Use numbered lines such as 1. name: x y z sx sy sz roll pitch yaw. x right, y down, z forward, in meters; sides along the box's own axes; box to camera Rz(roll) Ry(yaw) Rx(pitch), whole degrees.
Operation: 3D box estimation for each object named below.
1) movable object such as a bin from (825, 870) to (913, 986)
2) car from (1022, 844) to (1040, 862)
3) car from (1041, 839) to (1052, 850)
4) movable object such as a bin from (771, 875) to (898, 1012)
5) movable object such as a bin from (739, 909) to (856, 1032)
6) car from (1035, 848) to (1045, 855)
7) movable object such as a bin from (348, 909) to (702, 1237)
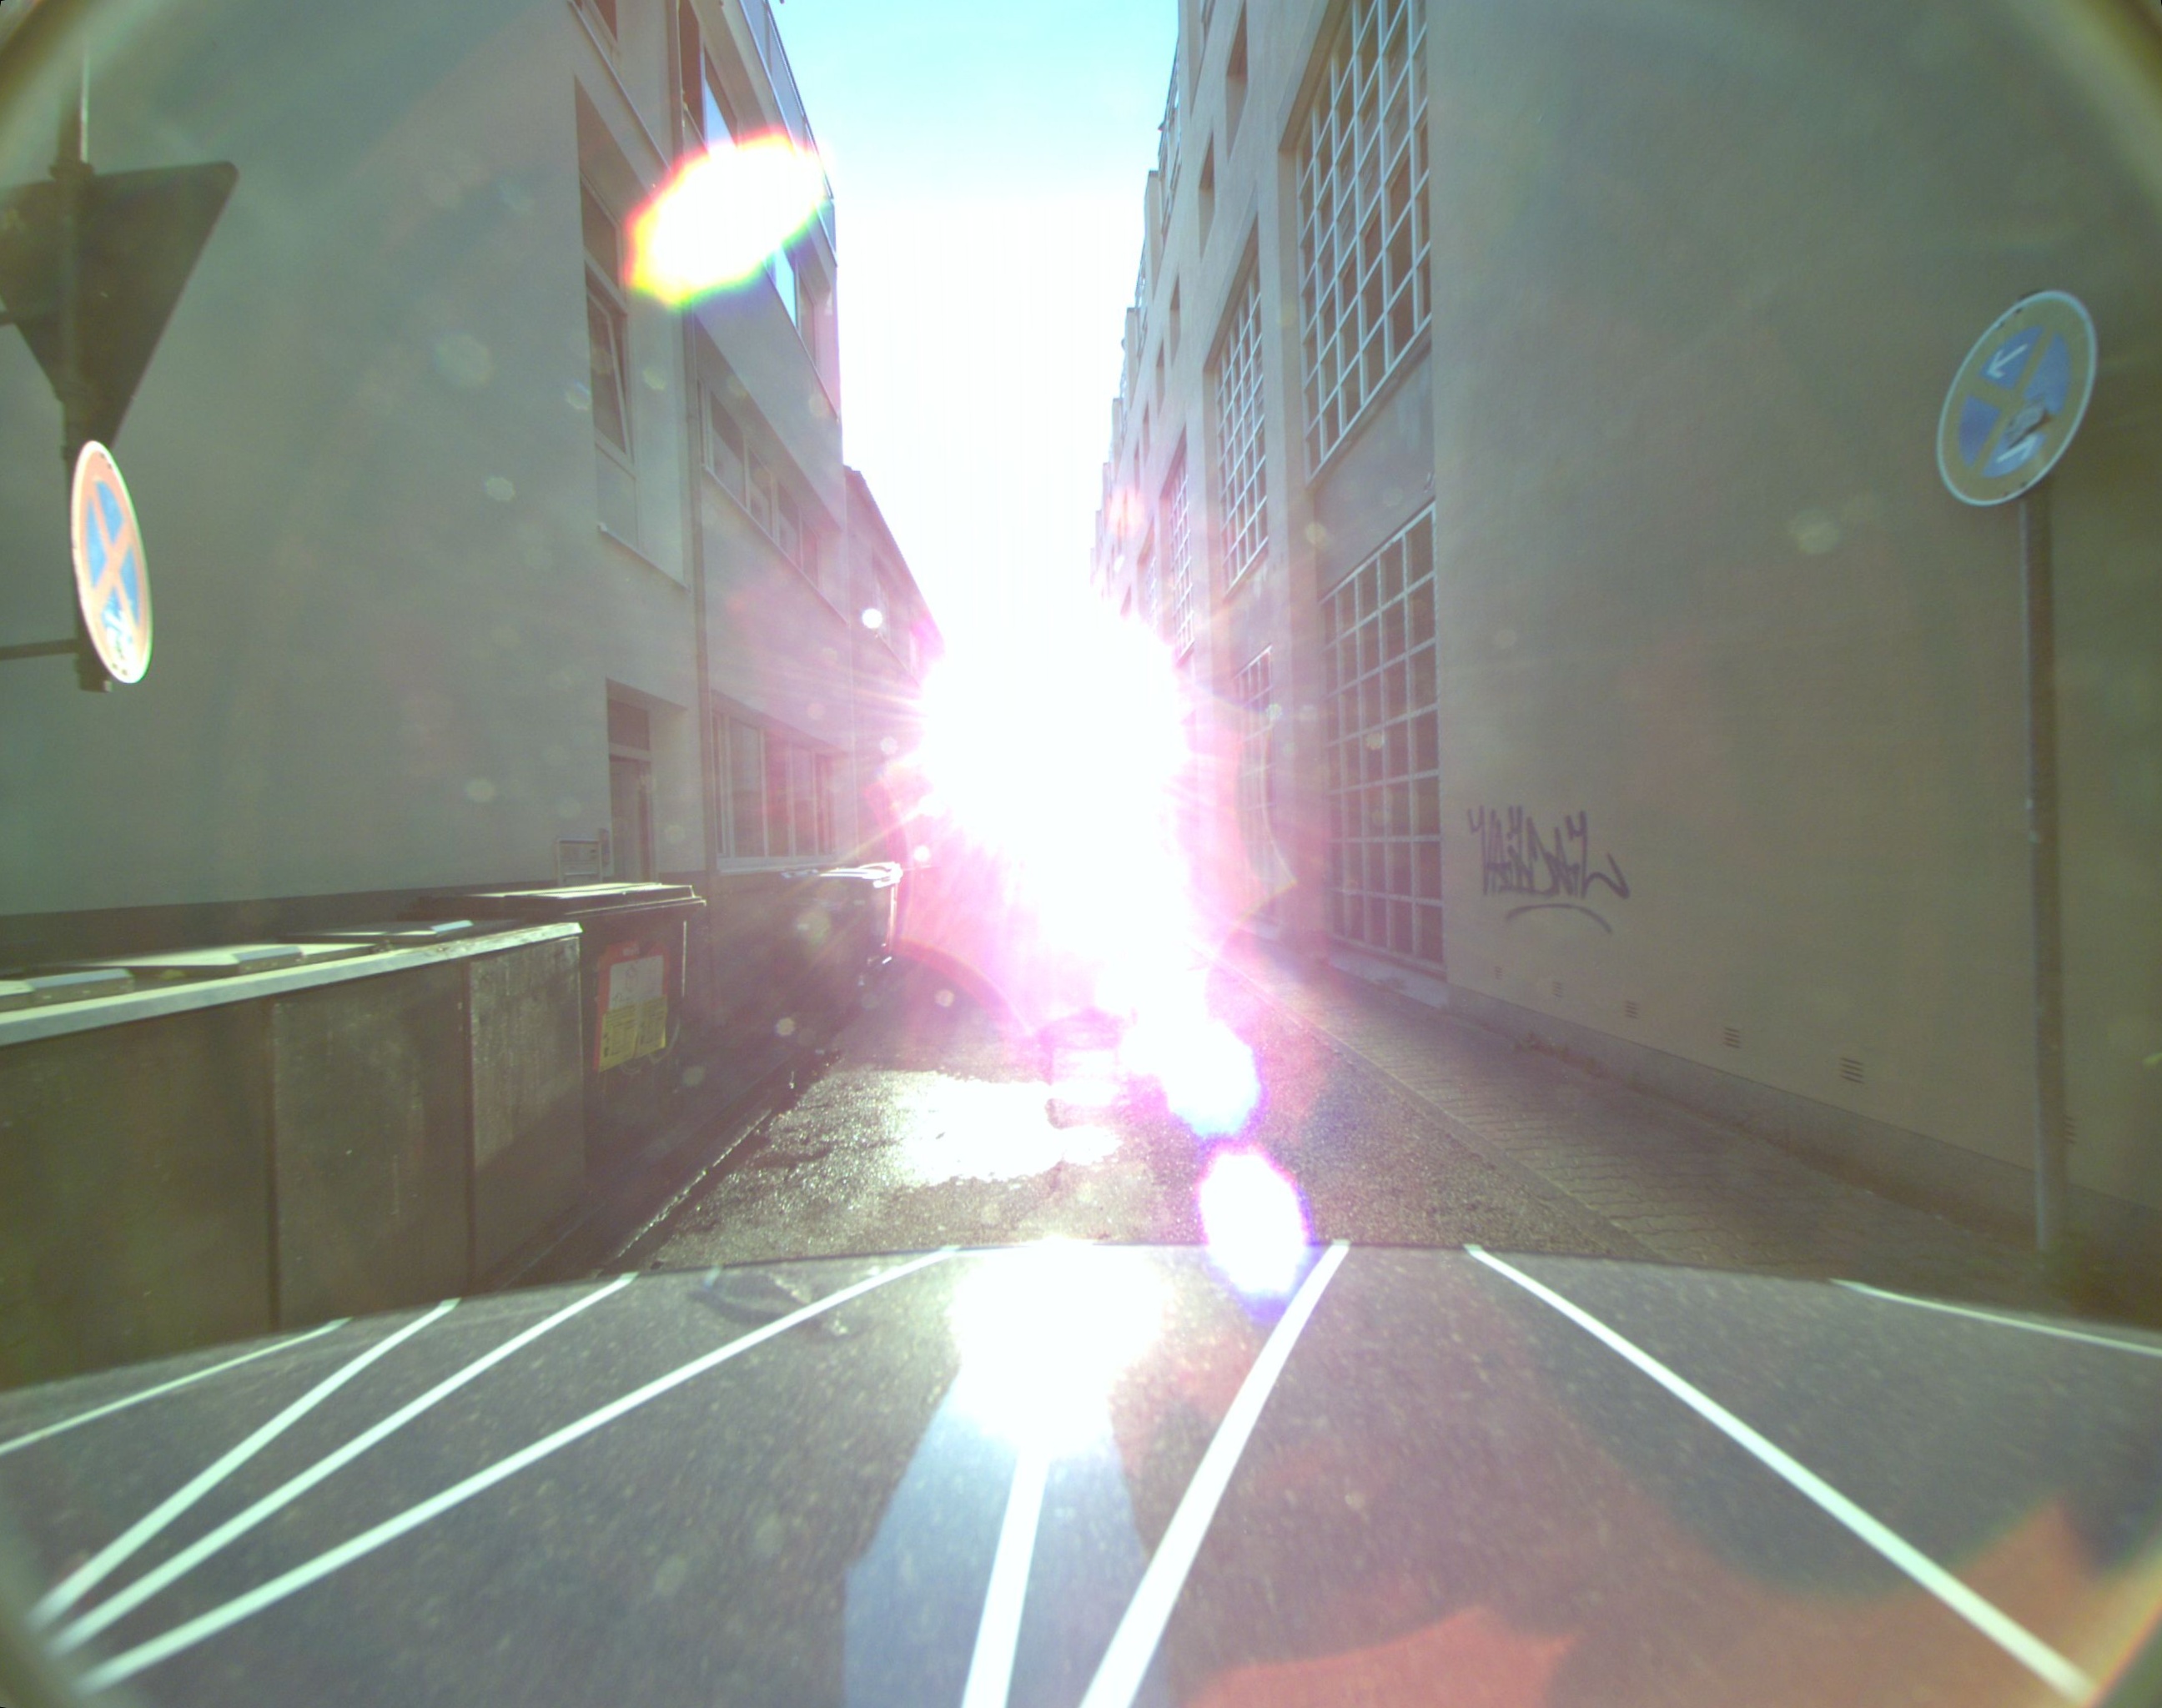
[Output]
1. movable object such as a bin: -2.738 0.917 9.954 0.940 1.359 1.341 0 1 -8
2. car: -5.376 -0.136 81.785 1.764 1.756 4.748 -4 1 -3
3. car: -6.750 -1.848 147.718 1.999 1.805 3.998 -4 1 -4
4. movable object such as a bin: -2.710 0.947 8.550 1.067 1.359 1.341 0 1 -4
5. movable object such as a bin: -2.701 1.092 7.326 0.871 1.069 0.738 0 1 -4
6. car: -9.047 -0.509 166.382 1.806 1.415 3.753 -4 1 -7
7. movable object such as a bin: -2.700 0.989 3.898 0.838 1.297 1.290 0 1 1
